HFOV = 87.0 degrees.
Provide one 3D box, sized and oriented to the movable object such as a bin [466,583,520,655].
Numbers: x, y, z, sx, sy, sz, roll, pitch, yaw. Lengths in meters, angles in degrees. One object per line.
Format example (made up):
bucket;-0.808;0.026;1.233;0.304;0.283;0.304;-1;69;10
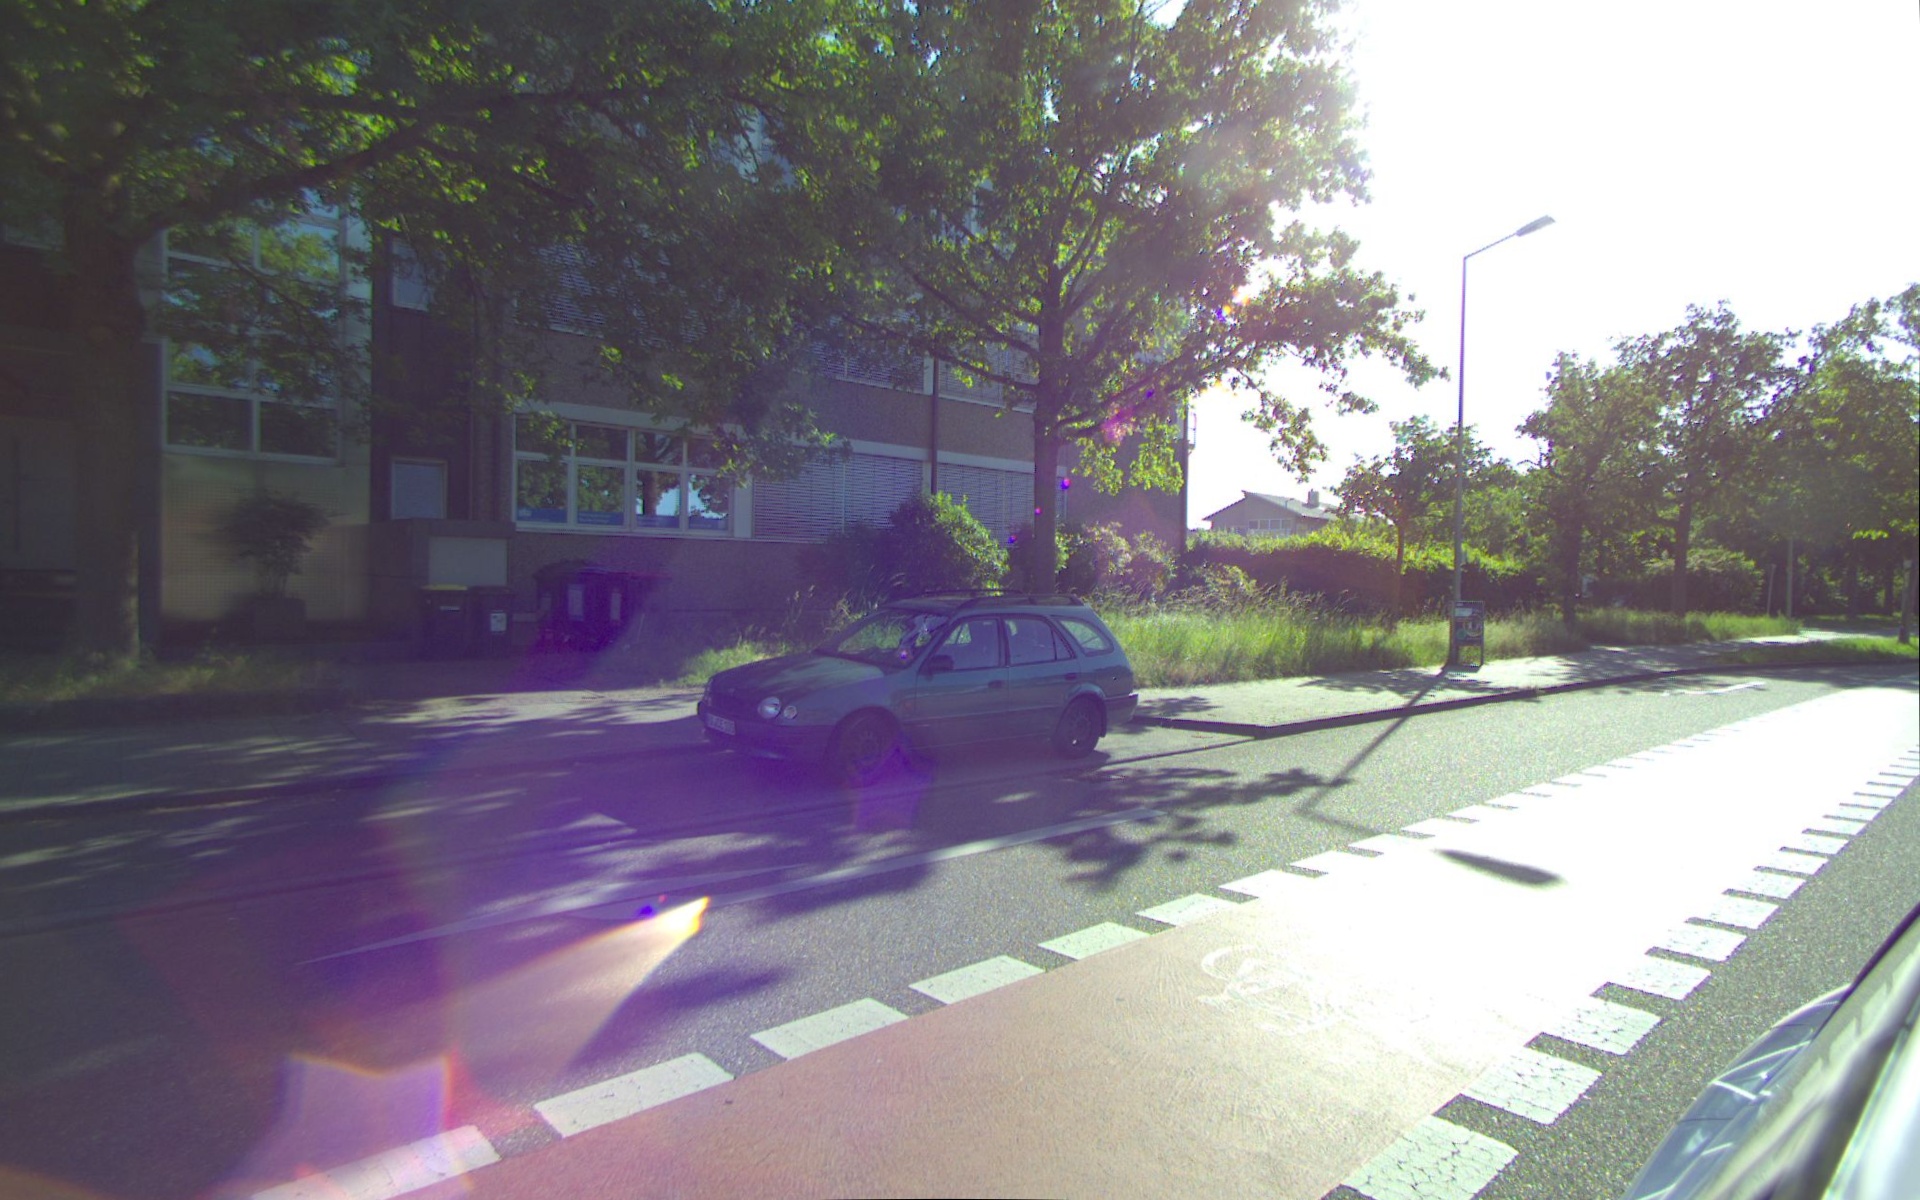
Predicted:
movable object such as a bin;-6.883;0.269;14.900;0.566;1.020;0.629;-1;1;-41

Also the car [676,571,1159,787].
car;-0.213;0.511;8.932;4.129;1.446;1.596;-1;3;-40

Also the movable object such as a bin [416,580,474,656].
movable object such as a bin;-7.341;0.245;14.423;0.571;1.045;0.713;0;1;-41
